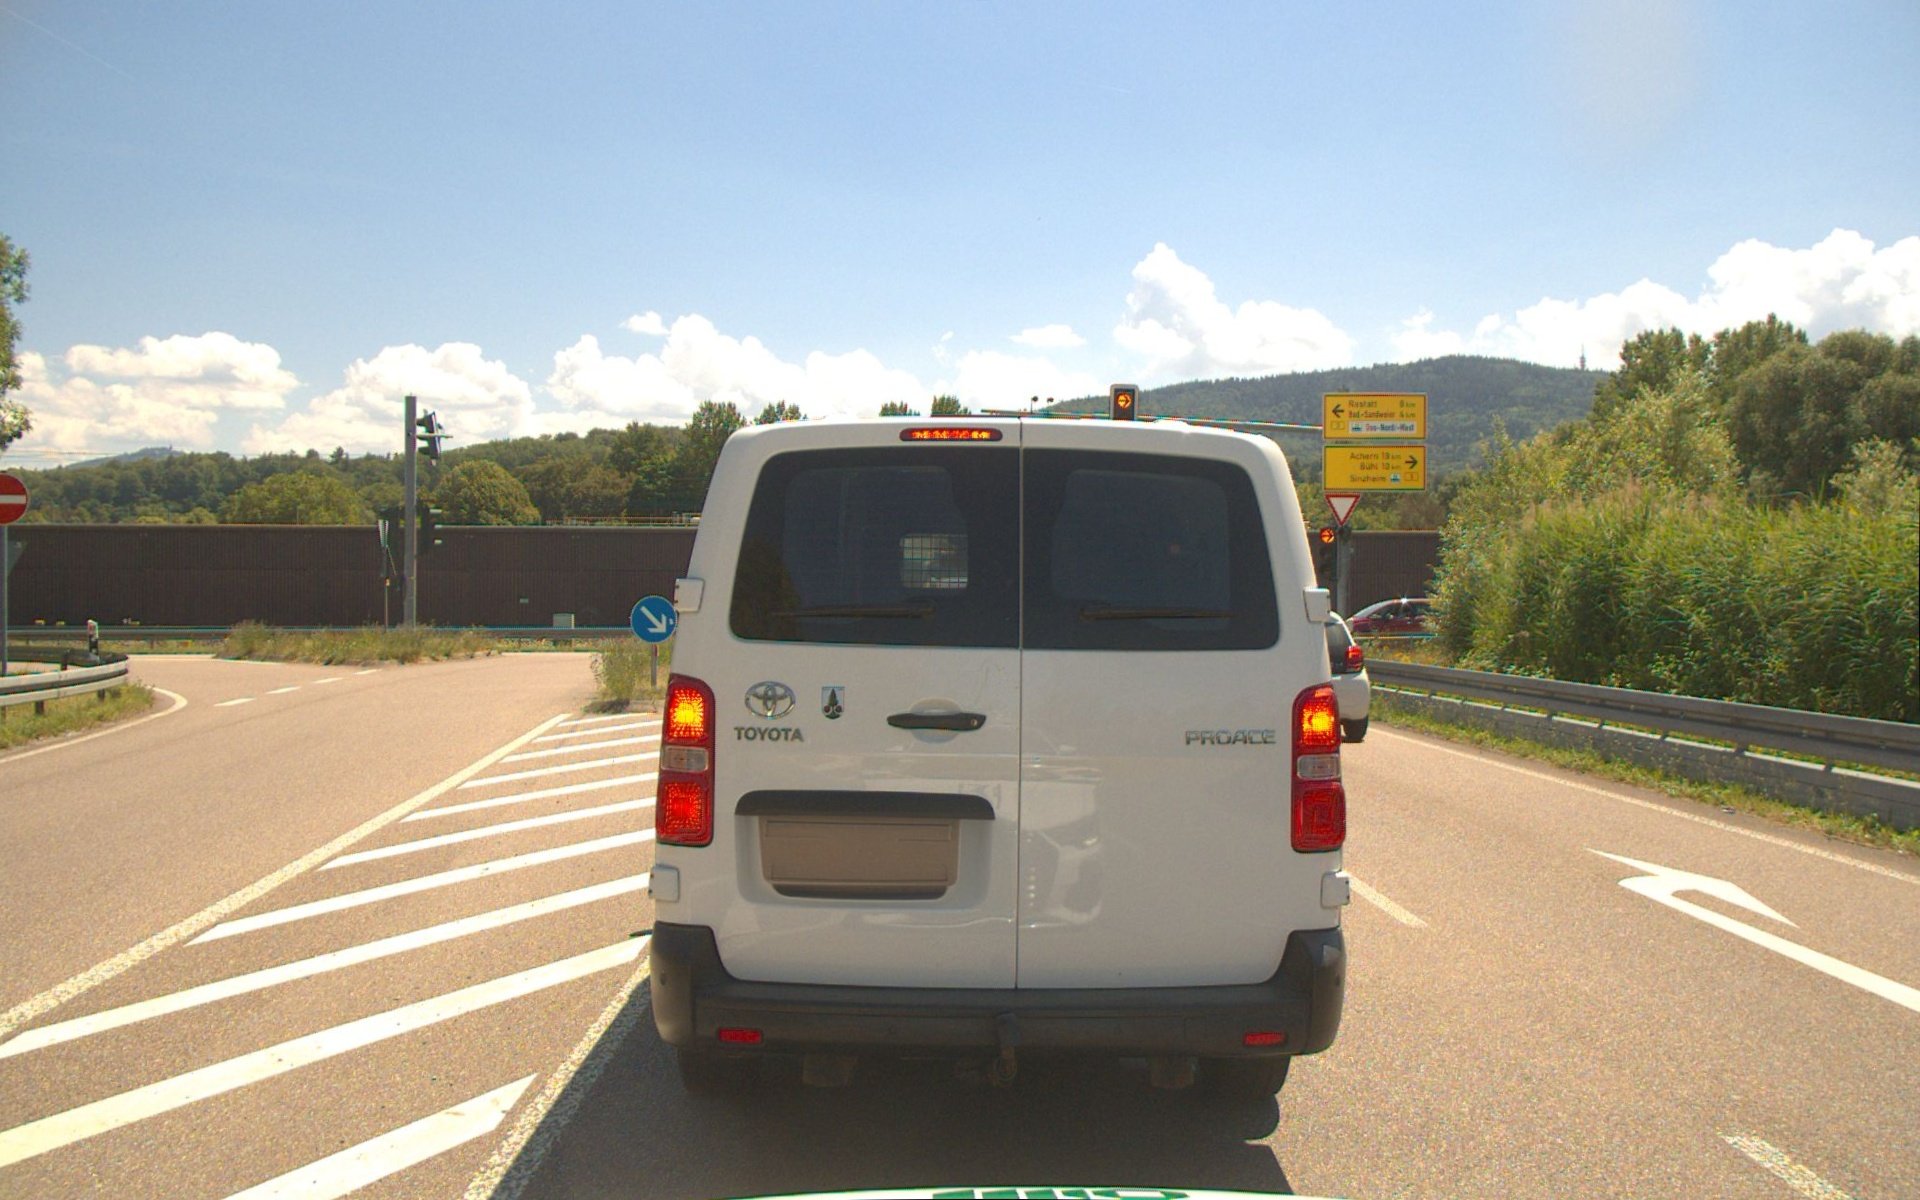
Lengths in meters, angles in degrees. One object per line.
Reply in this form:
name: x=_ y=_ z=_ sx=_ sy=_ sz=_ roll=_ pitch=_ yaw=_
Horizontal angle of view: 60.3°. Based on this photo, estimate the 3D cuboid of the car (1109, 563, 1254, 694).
car: x=3.699 y=0.460 z=28.424 sx=1.889 sy=2.035 sz=4.838 roll=1 pitch=0 yaw=1

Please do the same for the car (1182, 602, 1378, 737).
car: x=3.734 y=0.765 z=19.804 sx=1.622 sy=1.456 sz=3.364 roll=1 pitch=0 yaw=-1

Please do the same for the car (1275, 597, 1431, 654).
car: x=11.881 y=0.767 z=50.166 sx=4.225 sy=1.685 sz=1.998 roll=0 pitch=0 yaw=-4

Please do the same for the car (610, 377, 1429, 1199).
car: x=0.099 y=0.471 z=5.771 sx=1.848 sy=1.919 sz=3.999 roll=1 pitch=0 yaw=-1
